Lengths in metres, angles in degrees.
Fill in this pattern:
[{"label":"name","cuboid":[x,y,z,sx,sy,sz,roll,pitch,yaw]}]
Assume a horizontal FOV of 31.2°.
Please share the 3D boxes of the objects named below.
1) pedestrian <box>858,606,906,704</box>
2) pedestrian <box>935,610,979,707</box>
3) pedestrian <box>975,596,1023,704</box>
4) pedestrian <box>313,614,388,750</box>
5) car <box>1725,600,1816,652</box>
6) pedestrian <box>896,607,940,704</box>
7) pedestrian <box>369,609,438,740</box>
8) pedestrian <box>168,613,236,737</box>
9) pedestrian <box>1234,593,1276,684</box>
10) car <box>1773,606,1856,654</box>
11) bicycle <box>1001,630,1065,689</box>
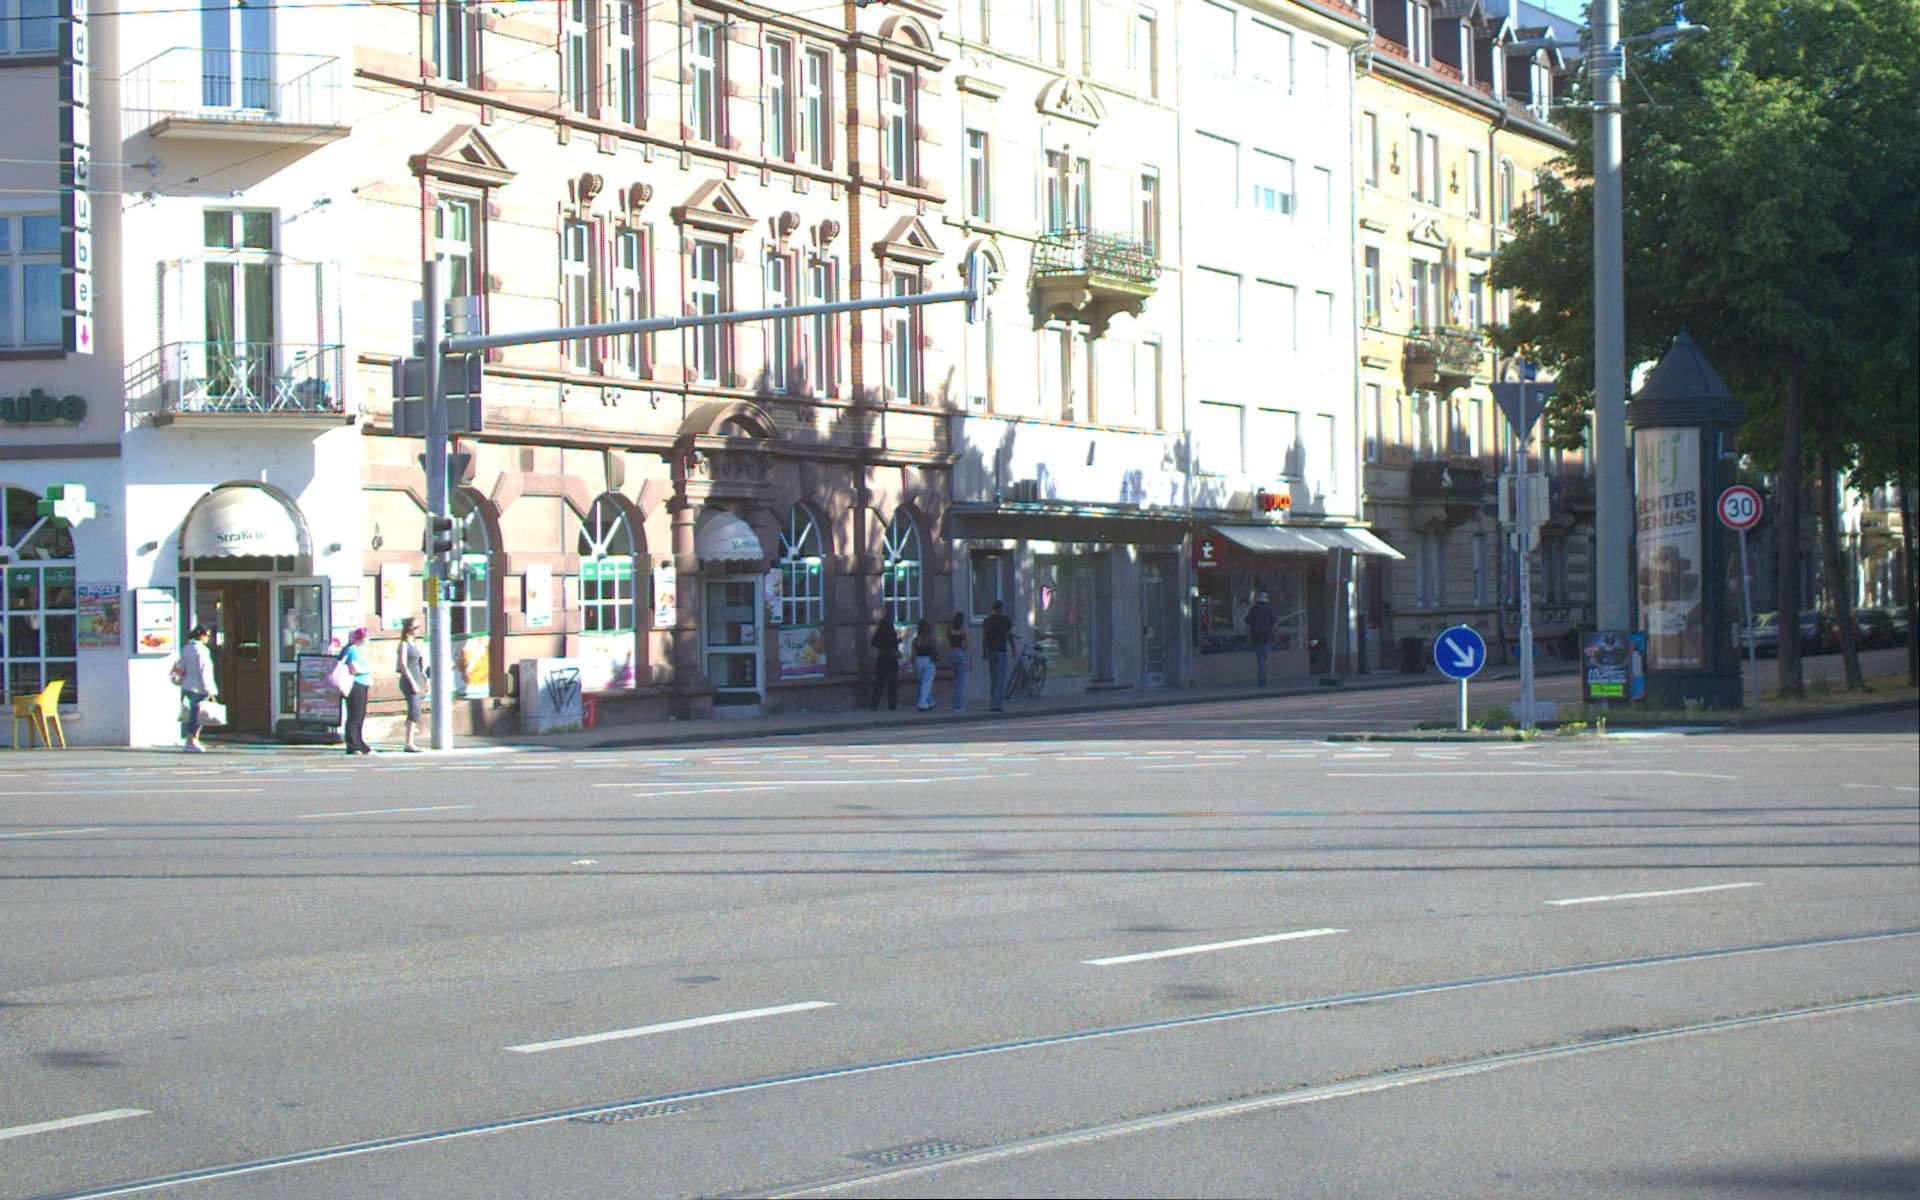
[{"label":"pedestrian","cuboid":[-1.329,0.933,58.477,0.627,1.636,0.537,-1,0,22]},{"label":"pedestrian","cuboid":[-0.047,0.992,58.500,0.551,1.636,0.632,-1,0,20]},{"label":"pedestrian","cuboid":[0.667,0.861,58.900,0.580,1.830,0.632,-1,0,25]},{"label":"pedestrian","cuboid":[-7.479,1.001,42.192,0.676,1.636,0.577,-1,0,23]},{"label":"car","cuboid":[24.657,0.791,104.470,1.996,1.492,4.029,-1,0,23]},{"label":"pedestrian","cuboid":[-0.711,0.939,58.303,0.551,1.636,0.537,-1,0,20]},{"label":"pedestrian","cuboid":[-7.052,0.945,43.570,0.631,1.636,0.552,-1,0,23]},{"label":"pedestrian","cuboid":[-9.461,0.927,42.933,0.658,1.519,0.695,-1,0,2]},{"label":"pedestrian","cuboid":[6.243,0.808,72.745,0.683,1.902,0.632,-1,0,25]},{"label":"car","cuboid":[28.182,0.972,113.277,1.996,1.492,4.029,-1,0,23]},{"label":"bicycle","cuboid":[1.379,1.107,64.755,0.495,1.063,1.767,-1,0,26]}]
